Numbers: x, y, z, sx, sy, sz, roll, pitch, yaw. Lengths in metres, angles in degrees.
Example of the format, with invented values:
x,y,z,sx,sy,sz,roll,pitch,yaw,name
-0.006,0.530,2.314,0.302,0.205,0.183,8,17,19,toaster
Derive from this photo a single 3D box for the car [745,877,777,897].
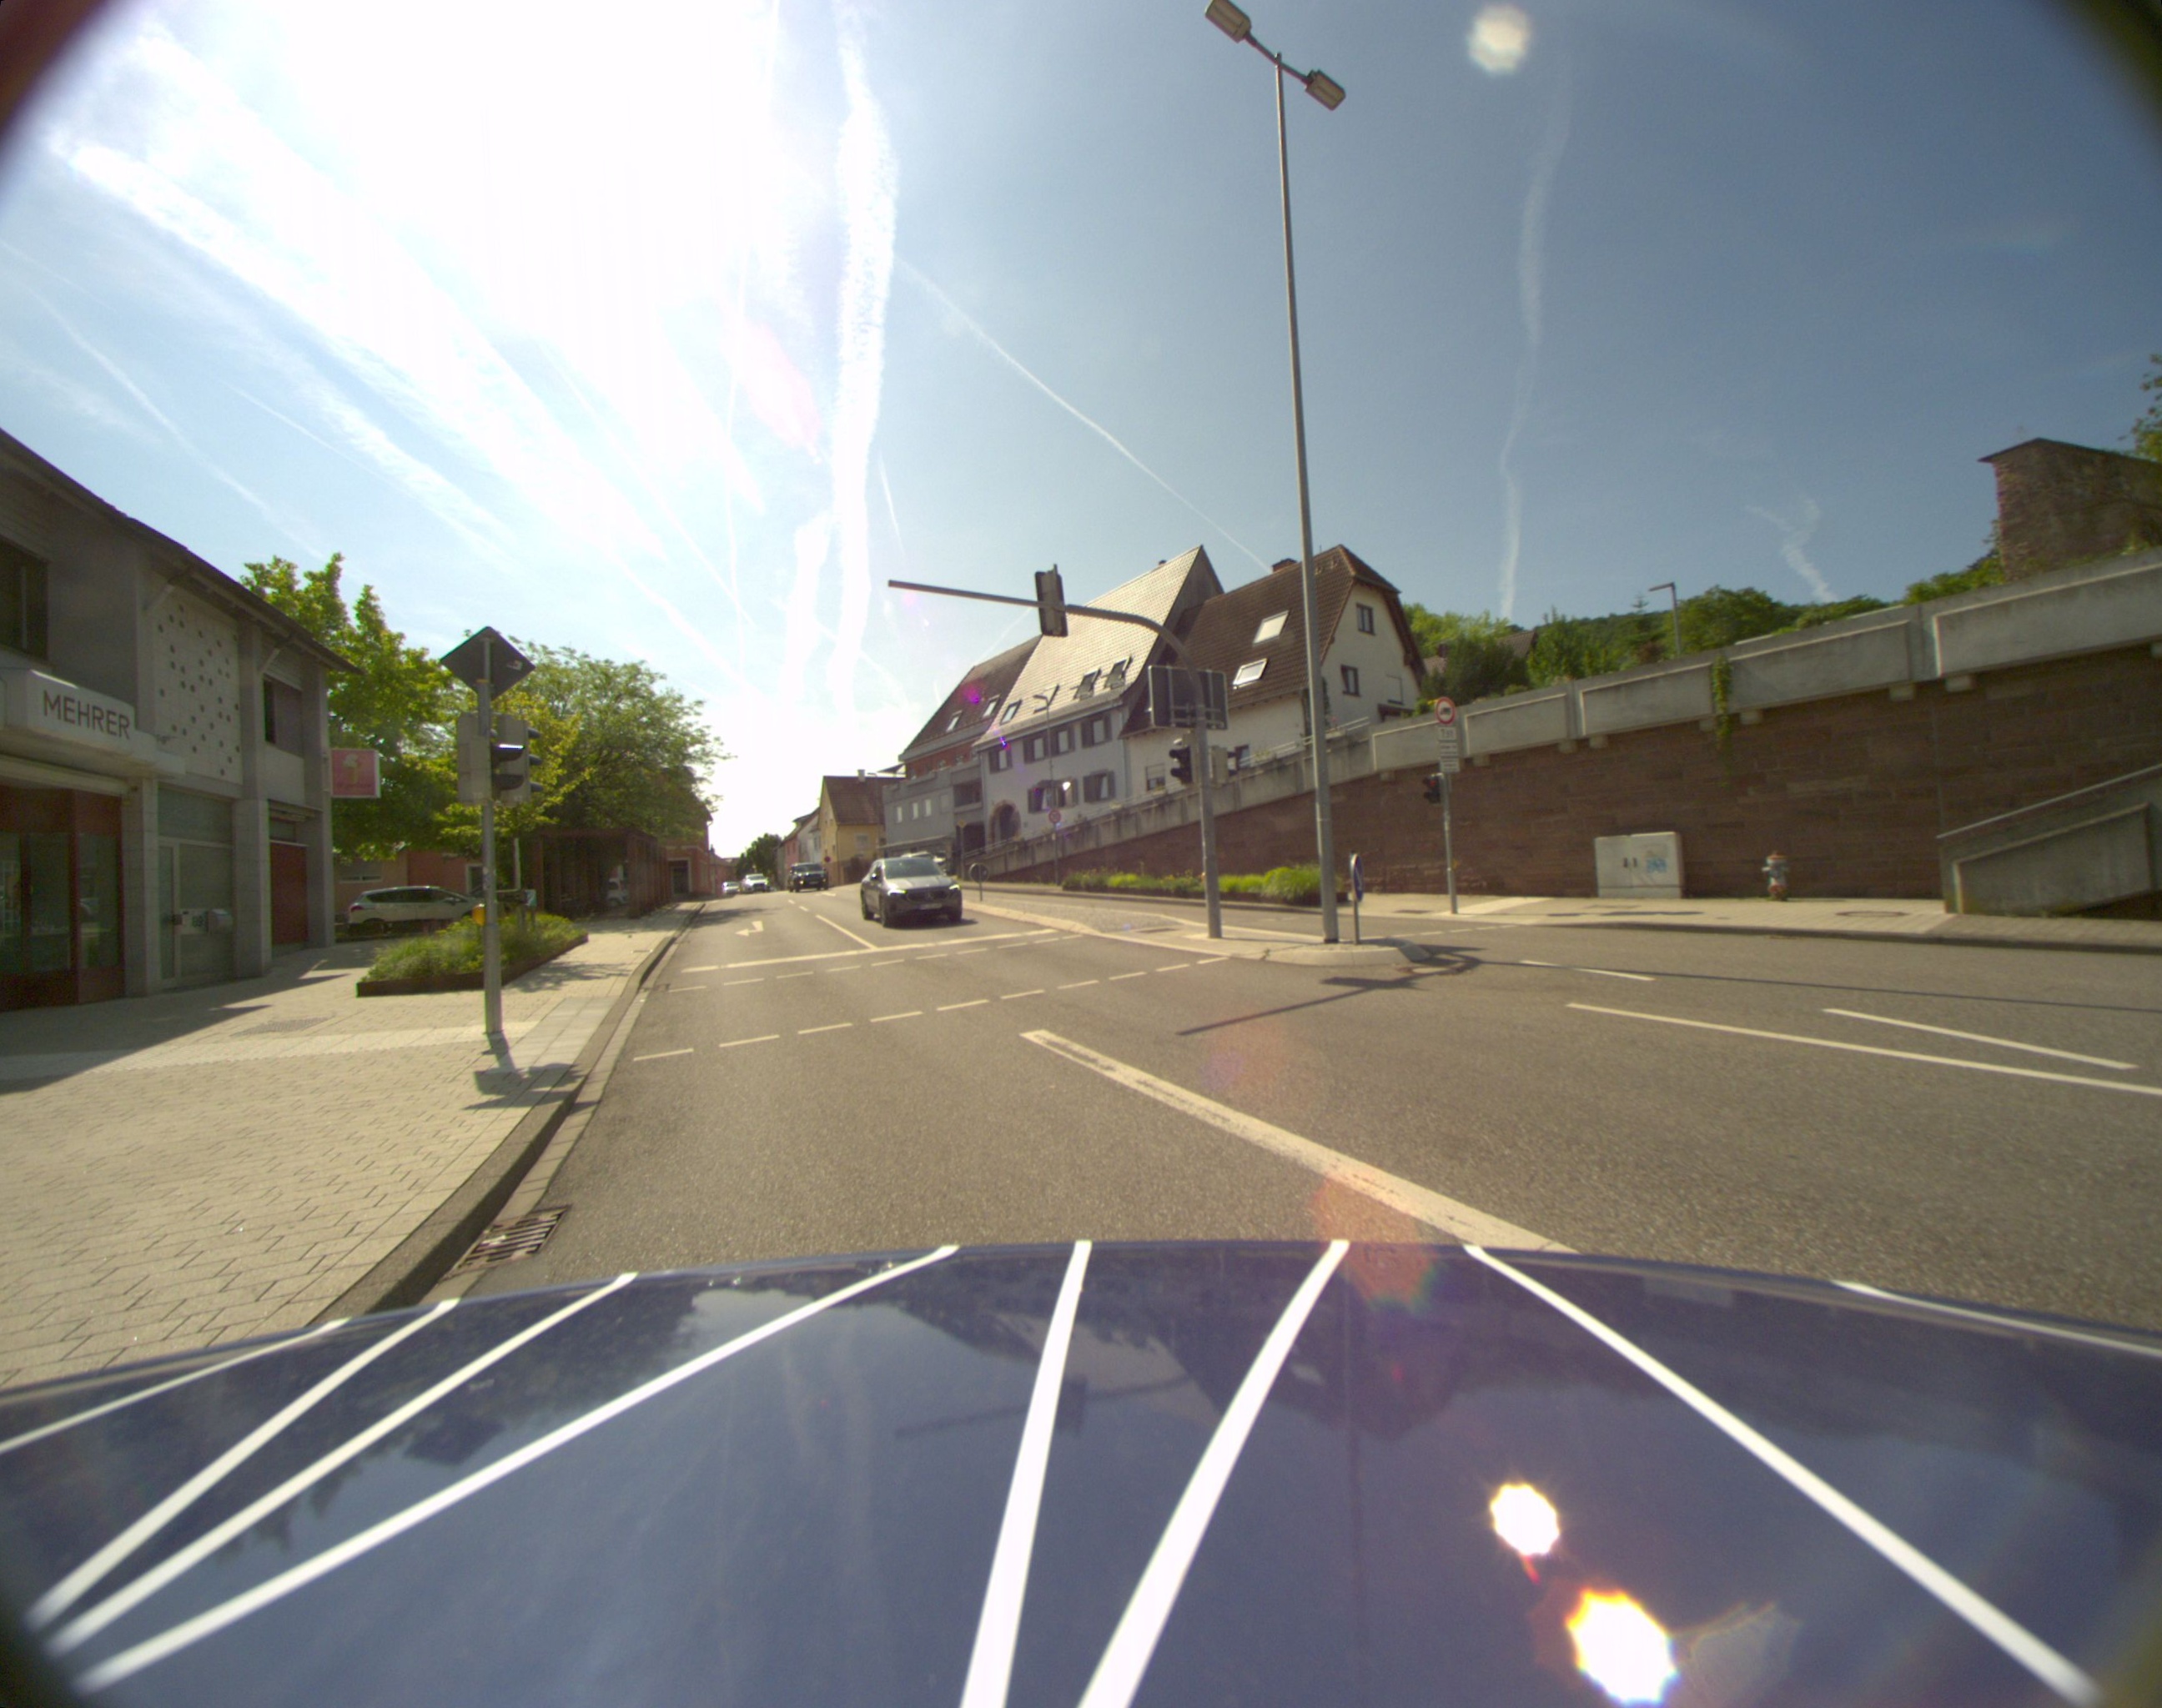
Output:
x,y,z,sx,sy,sz,roll,pitch,yaw,name
-25.985,2.673,61.638,1.791,1.417,3.700,-6,1,-29,car

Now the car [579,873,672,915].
x,y,z,sx,sy,sz,roll,pitch,yaw,name
-26.031,2.259,43.577,4.102,1.744,1.810,-8,2,-18,car

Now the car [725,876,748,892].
x,y,z,sx,sy,sz,roll,pitch,yaw,name
-36.193,3.118,79.943,1.839,1.533,4.163,-4,0,-20,car

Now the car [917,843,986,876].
x,y,z,sx,sy,sz,roll,pitch,yaw,name
-8.155,0.396,47.453,1.813,1.788,5.272,-4,1,-40,car

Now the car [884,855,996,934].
x,y,z,sx,sy,sz,roll,pitch,yaw,name
-3.593,0.898,18.715,1.740,1.564,4.282,-5,1,-23,car

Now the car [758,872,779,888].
x,y,z,sx,sy,sz,roll,pitch,yaw,name
-33.501,2.753,81.453,1.839,1.533,4.163,-4,0,-20,car

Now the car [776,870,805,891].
x,y,z,sx,sy,sz,roll,pitch,yaw,name
-24.040,2.177,62.741,1.783,1.533,4.091,-5,1,-26,car

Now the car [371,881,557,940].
x,y,z,sx,sy,sz,roll,pitch,yaw,name
-20.576,1.837,25.616,4.500,1.536,1.722,-4,1,-25,car

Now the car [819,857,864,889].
x,y,z,sx,sy,sz,roll,pitch,yaw,name
-13.979,1.088,44.208,1.795,1.643,4.385,-4,0,-25,car
